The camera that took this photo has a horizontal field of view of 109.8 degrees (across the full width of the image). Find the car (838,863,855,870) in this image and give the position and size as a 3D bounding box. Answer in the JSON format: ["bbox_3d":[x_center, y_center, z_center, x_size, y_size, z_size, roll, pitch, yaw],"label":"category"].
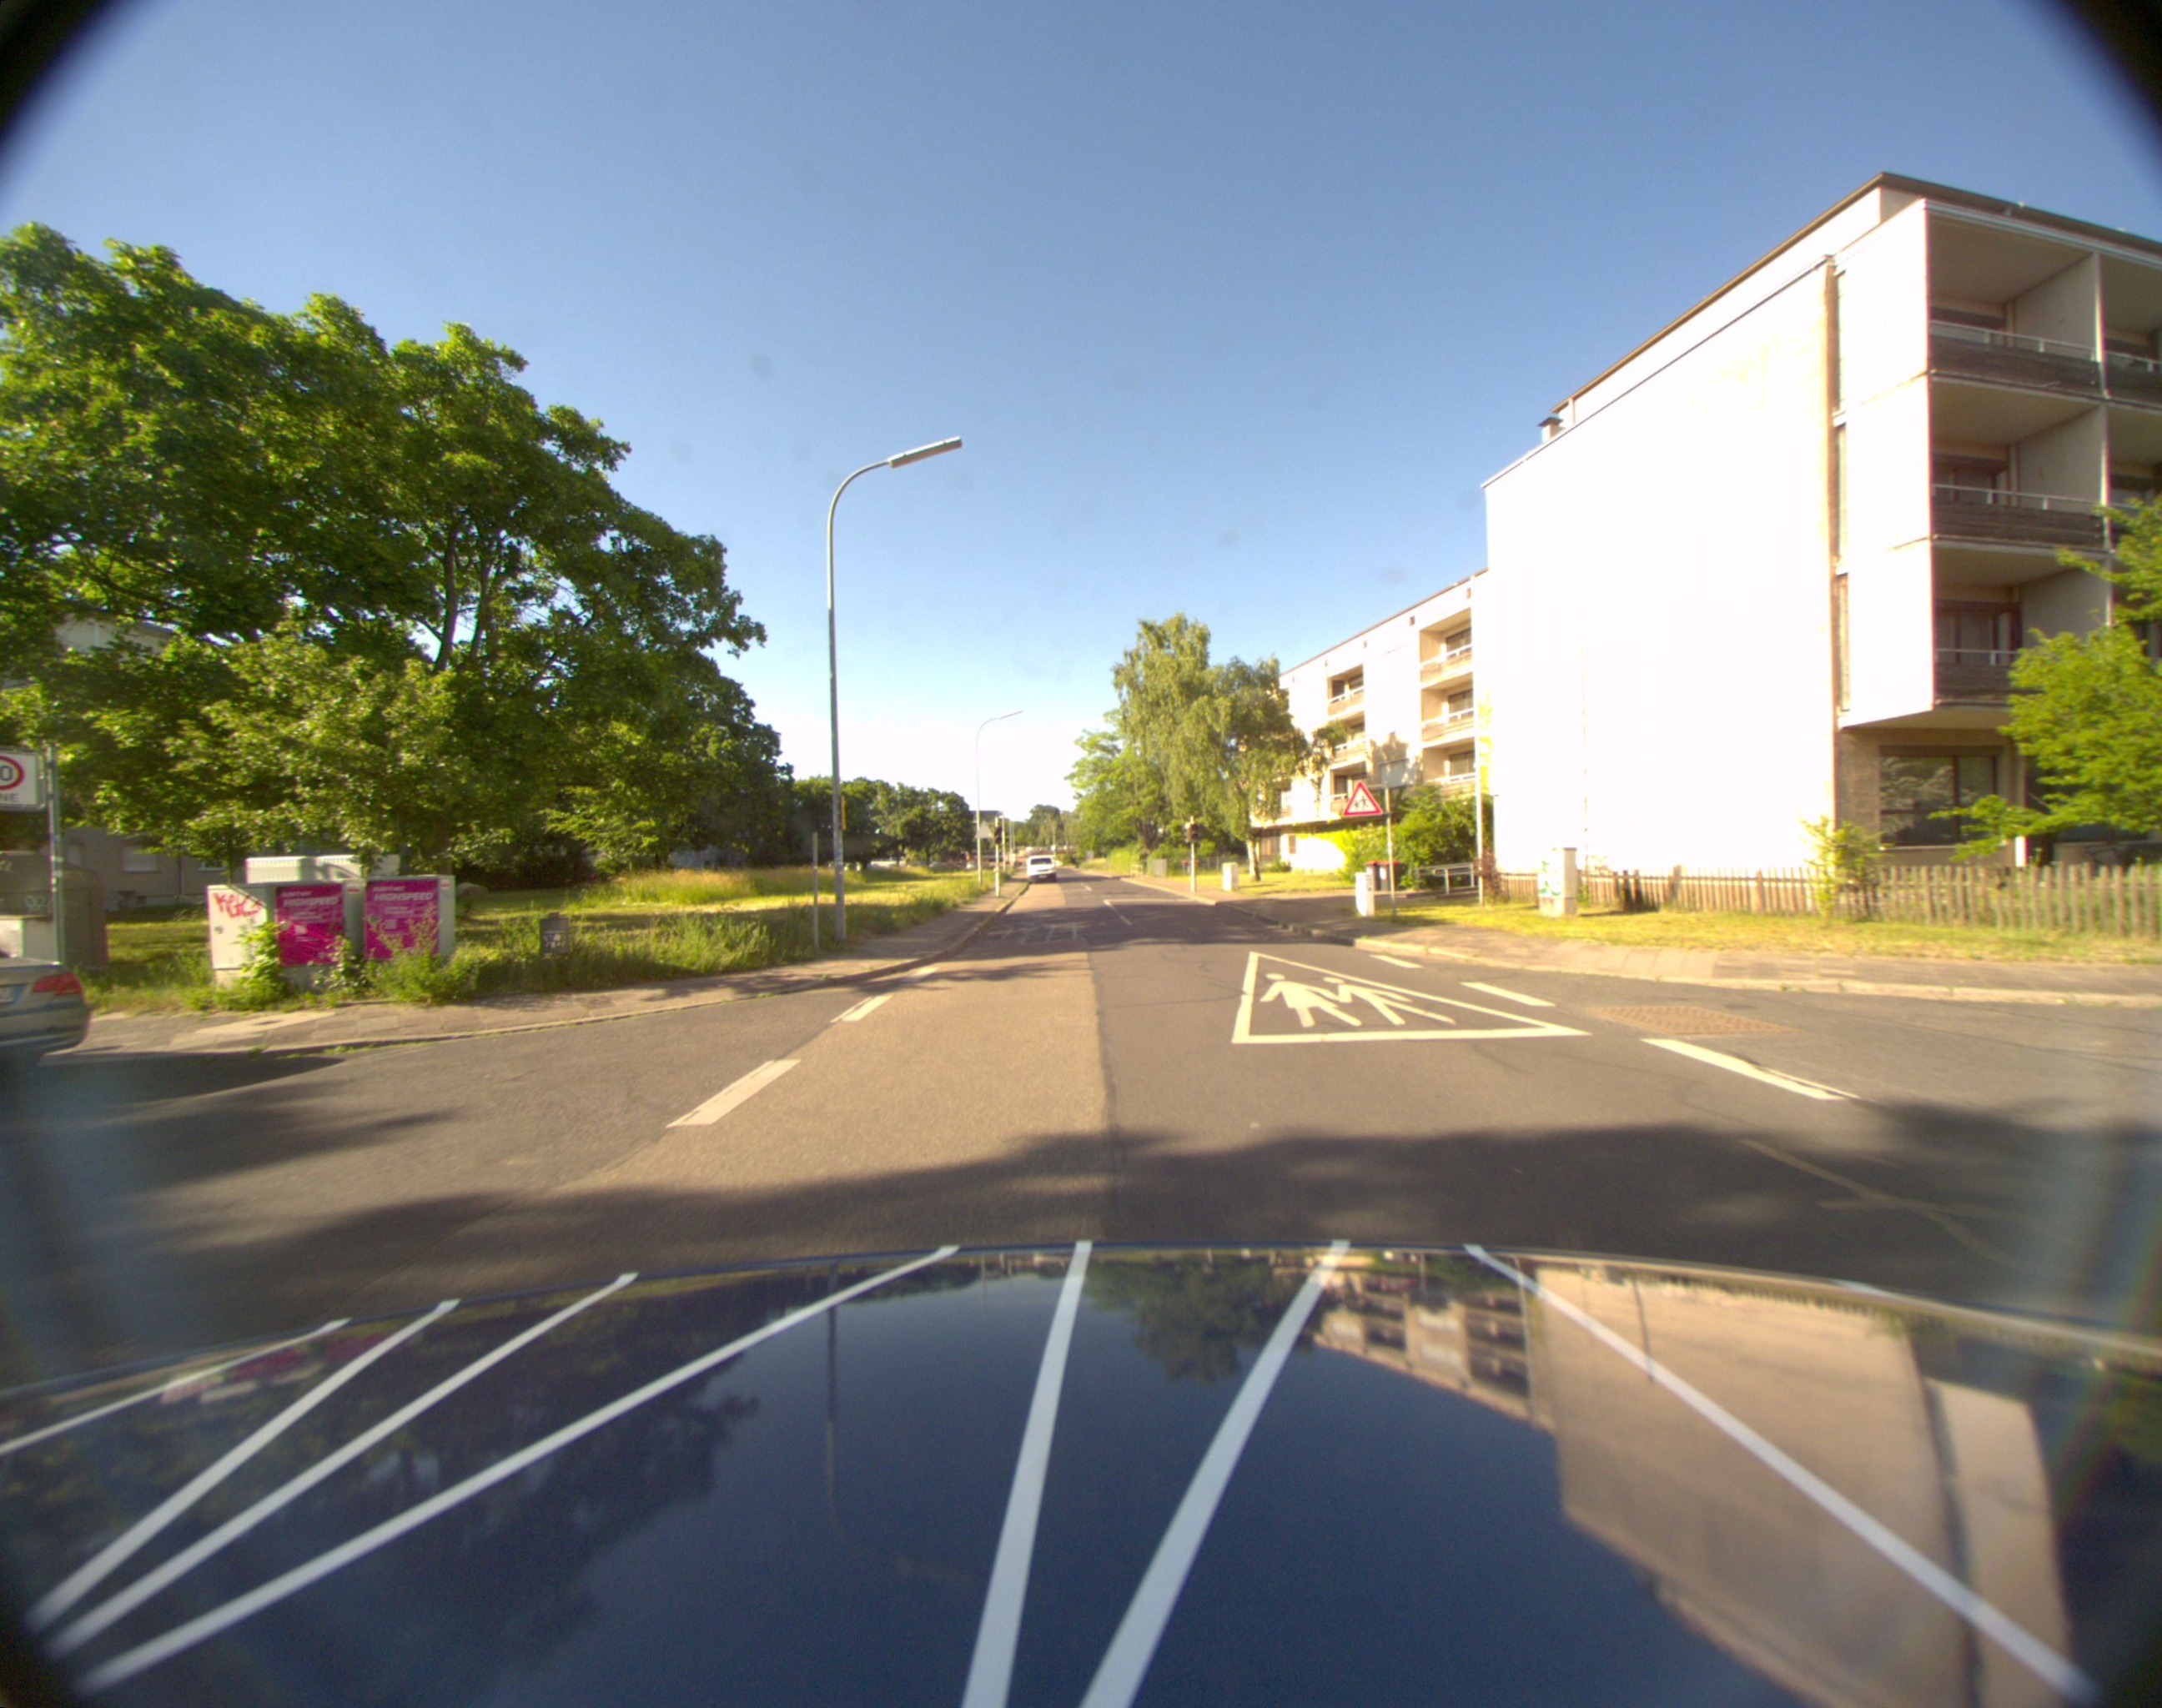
[{"bbox_3d":[-50.800,2.658,164.661,1.954,1.552,4.003,-1,0,10],"label":"car"}]

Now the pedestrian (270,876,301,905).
[{"bbox_3d":[-40.575,1.867,38.772,0.757,1.448,0.767,-1,0,-15],"label":"pedestrian"}]

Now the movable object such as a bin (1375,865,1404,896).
[{"bbox_3d":[10.834,0.912,26.671,0.629,1.042,0.701,-1,1,-24],"label":"movable object such as a bin"}]

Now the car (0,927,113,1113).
[{"bbox_3d":[-10.210,1.320,5.519,4.435,1.329,1.747,-2,-1,4],"label":"car"}]

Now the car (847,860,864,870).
[{"bbox_3d":[-48.577,2.428,163.932,1.997,2.002,4.002,-1,0,7],"label":"car"}]

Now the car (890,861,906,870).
[{"bbox_3d":[-38.983,2.434,162.163,1.954,1.763,4.002,-1,1,10],"label":"car"}]

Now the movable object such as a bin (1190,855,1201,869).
[{"bbox_3d":[8.310,0.554,55.295,0.623,1.018,0.710,-1,0,-8],"label":"movable object such as a bin"}]

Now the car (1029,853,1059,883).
[{"bbox_3d":[-2.561,0.920,52.142,1.921,1.860,4.864,-3,0,-4],"label":"car"}]

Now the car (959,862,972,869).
[{"bbox_3d":[-24.101,2.385,158.889,1.779,1.316,4.002,-1,0,6],"label":"car"}]

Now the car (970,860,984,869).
[{"bbox_3d":[-21.724,2.127,158.713,1.955,1.849,4.001,-1,0,4],"label":"car"}]

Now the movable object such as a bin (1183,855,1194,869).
[{"bbox_3d":[7.799,0.554,55.208,0.623,1.018,0.710,-1,0,-8],"label":"movable object such as a bin"}]

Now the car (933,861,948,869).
[{"bbox_3d":[-29.421,2.301,159.343,1.859,1.763,4.003,-1,0,10],"label":"car"}]

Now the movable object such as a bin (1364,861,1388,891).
[{"bbox_3d":[10.598,0.781,27.268,0.565,1.047,0.556,-1,1,-23],"label":"movable object such as a bin"}]
